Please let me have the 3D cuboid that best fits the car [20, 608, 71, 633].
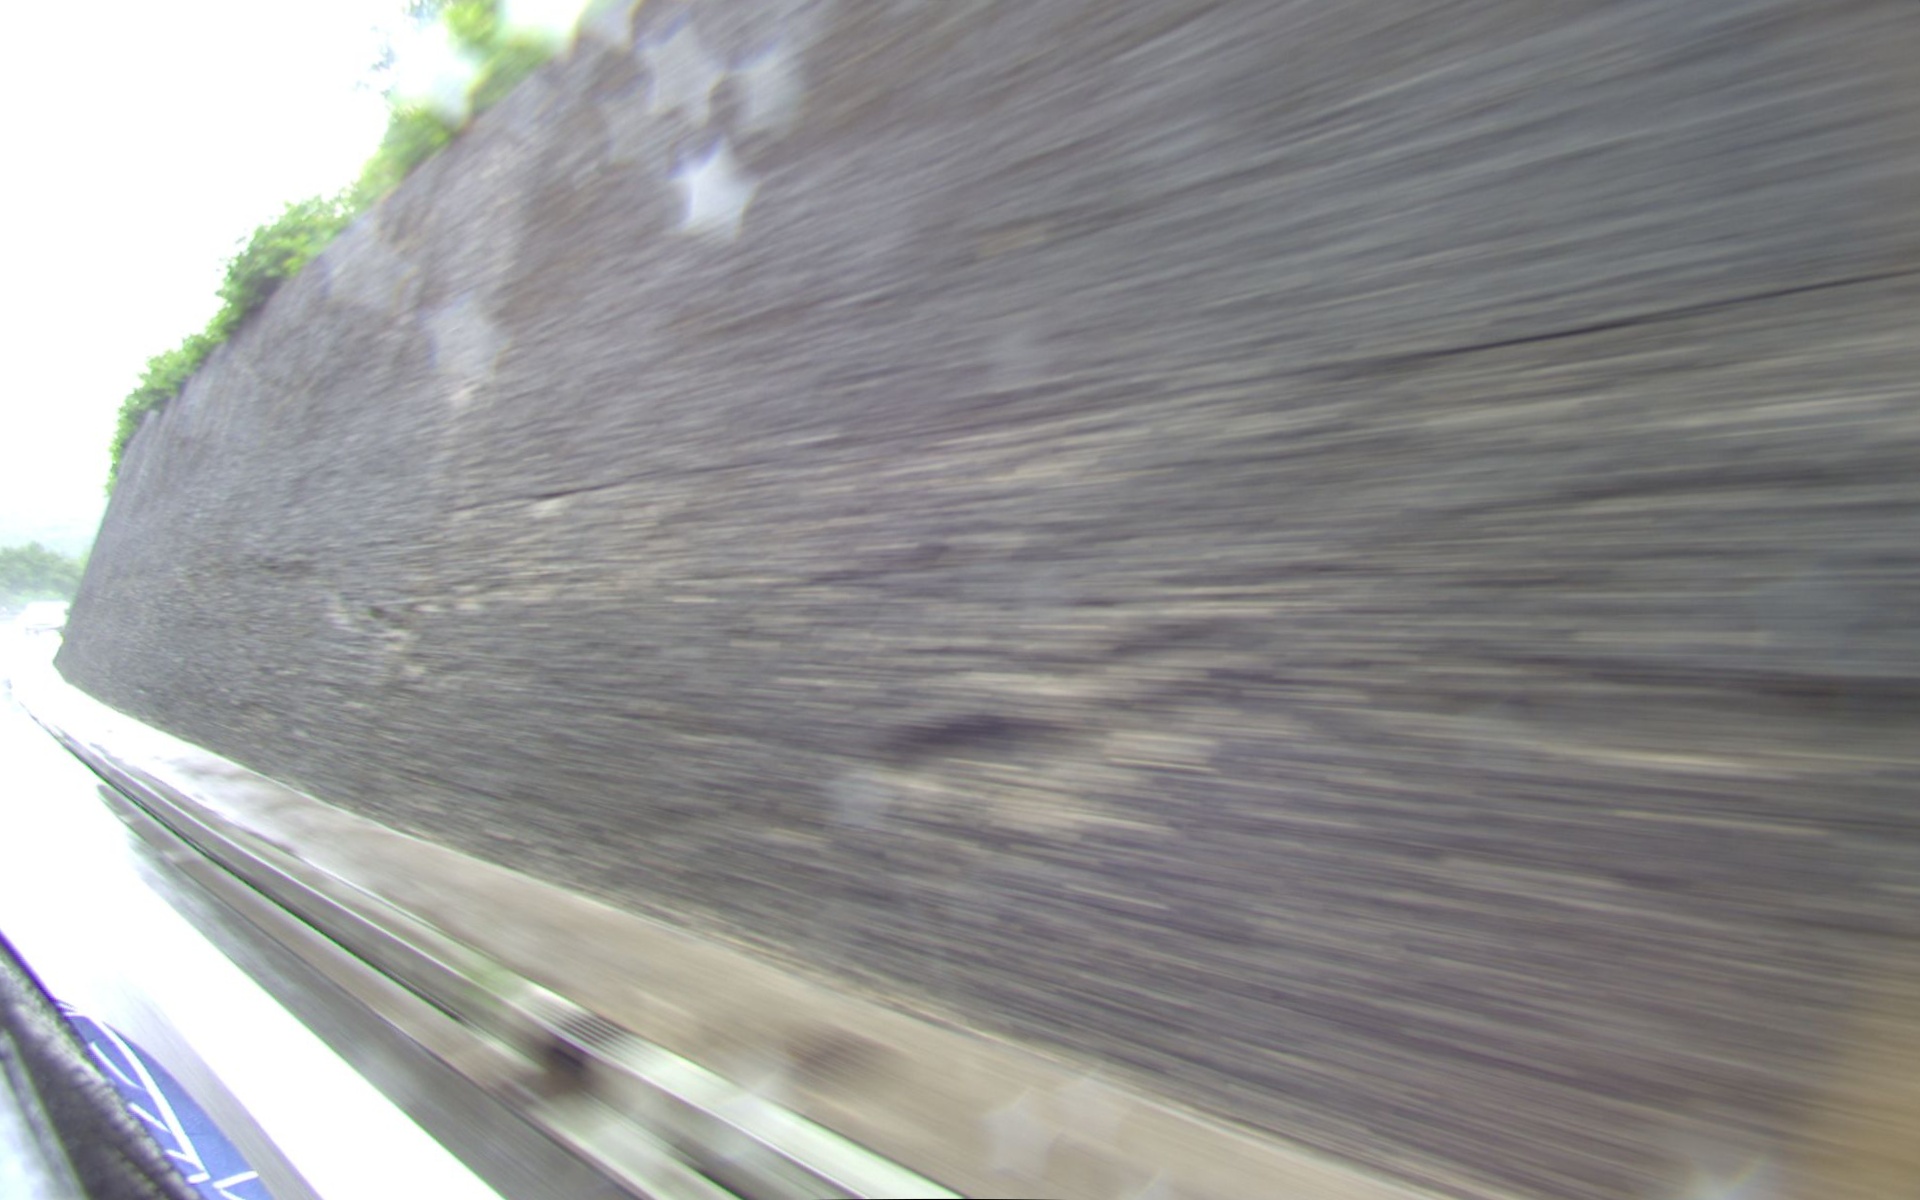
[{"bbox_3d":[-55.970,1.244,61.998,1.799,1.393,4.010,-3,1,-35],"label":"car"}]
